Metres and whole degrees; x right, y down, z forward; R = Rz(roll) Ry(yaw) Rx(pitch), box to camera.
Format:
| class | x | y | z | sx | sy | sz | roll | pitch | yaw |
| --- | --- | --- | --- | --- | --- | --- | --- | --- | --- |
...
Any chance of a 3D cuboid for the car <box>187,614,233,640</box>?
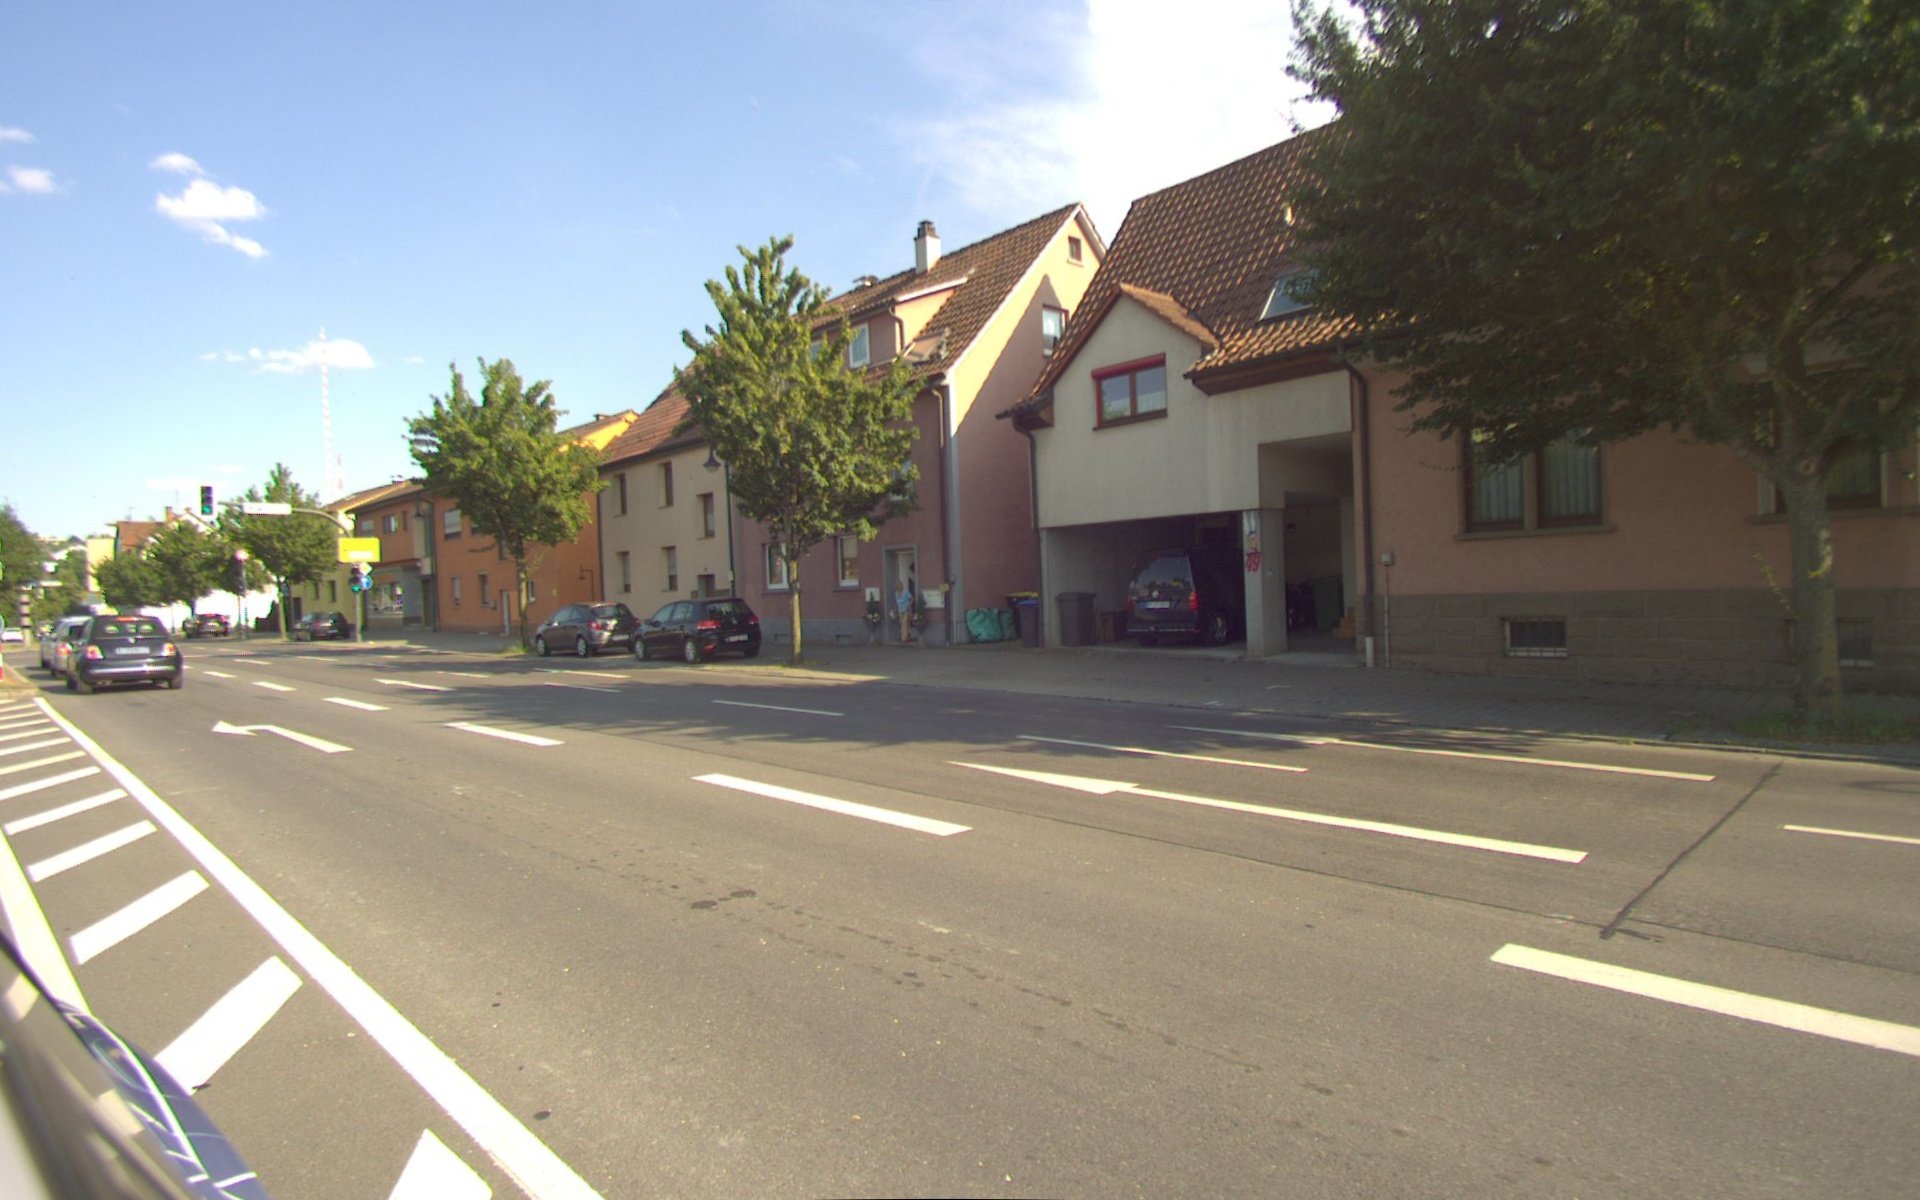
| class | x | y | z | sx | sy | sz | roll | pitch | yaw |
| --- | --- | --- | --- | --- | --- | --- | --- | --- | --- |
| car | -49.581 | 1.797 | 66.868 | 1.833 | 1.607 | 4.463 | -2 | 0 | -44 |

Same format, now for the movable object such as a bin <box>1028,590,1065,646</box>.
| class | x | y | z | sx | sy | sz | roll | pitch | yaw |
| --- | --- | --- | --- | --- | --- | --- | --- | --- | --- |
| movable object such as a bin | 1.806 | 0.379 | 21.115 | 0.540 | 1.146 | 0.504 | -2 | -1 | 44 |

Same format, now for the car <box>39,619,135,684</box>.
| class | x | y | z | sx | sy | sz | roll | pitch | yaw |
| --- | --- | --- | --- | --- | --- | --- | --- | --- | --- |
| car | -21.604 | 1.210 | 25.003 | 1.571 | 1.438 | 3.581 | -1 | 0 | -44 |

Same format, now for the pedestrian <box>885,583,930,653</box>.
| class | x | y | z | sx | sy | sz | roll | pitch | yaw |
| --- | --- | --- | --- | --- | --- | --- | --- | --- | --- |
| pedestrian | -1.245 | 0.419 | 23.975 | 0.774 | 1.619 | 0.716 | -2 | 0 | 27 |

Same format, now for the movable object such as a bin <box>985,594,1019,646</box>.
| class | x | y | z | sx | sy | sz | roll | pitch | yaw |
| --- | --- | --- | --- | --- | --- | --- | --- | --- | --- |
| movable object such as a bin | 0.934 | 0.444 | 22.719 | 0.498 | 1.151 | 0.530 | -2 | -1 | -44 |

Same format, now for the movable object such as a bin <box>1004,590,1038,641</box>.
| class | x | y | z | sx | sy | sz | roll | pitch | yaw |
| --- | --- | --- | --- | --- | --- | --- | --- | --- | --- |
| movable object such as a bin | 1.384 | 0.357 | 23.117 | 0.498 | 1.151 | 0.547 | -2 | -1 | -44 |

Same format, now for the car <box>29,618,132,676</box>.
| class | x | y | z | sx | sy | sz | roll | pitch | yaw |
| --- | --- | --- | --- | --- | --- | --- | --- | --- | --- |
| car | -25.610 | 1.343 | 29.415 | 4.566 | 1.500 | 1.815 | -2 | 0 | 43 |

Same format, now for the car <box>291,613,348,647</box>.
| class | x | y | z | sx | sy | sz | roll | pitch | yaw |
| --- | --- | --- | --- | --- | --- | --- | --- | --- | --- |
| car | -31.183 | 1.459 | 49.214 | 1.574 | 1.449 | 3.779 | -7 | 3 | -43 |

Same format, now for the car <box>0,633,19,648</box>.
| class | x | y | z | sx | sy | sz | roll | pitch | yaw |
| --- | --- | --- | --- | --- | --- | --- | --- | --- | --- |
| car | -96.118 | 4.064 | 101.848 | 4.000 | 1.422 | 1.738 | -2 | 0 | 43 |

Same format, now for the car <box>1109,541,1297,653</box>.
| class | x | y | z | sx | sy | sz | roll | pitch | yaw |
| --- | --- | --- | --- | --- | --- | --- | --- | --- | --- |
| car | 4.781 | -0.118 | 19.640 | 3.778 | 1.895 | 1.780 | -5 | 2 | -45 |

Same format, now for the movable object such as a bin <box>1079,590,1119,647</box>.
| class | x | y | z | sx | sy | sz | roll | pitch | yaw |
| --- | --- | --- | --- | --- | --- | --- | --- | --- | --- |
| movable object such as a bin | 2.846 | 0.375 | 20.783 | 0.575 | 1.151 | 0.560 | -2 | -1 | 39 |

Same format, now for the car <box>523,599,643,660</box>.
| class | x | y | z | sx | sy | sz | roll | pitch | yaw |
| --- | --- | --- | --- | --- | --- | --- | --- | --- | --- |
| car | -10.630 | 0.832 | 28.411 | 3.885 | 1.521 | 1.496 | -2 | 1 | 43 |

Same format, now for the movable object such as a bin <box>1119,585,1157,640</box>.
| class | x | y | z | sx | sy | sz | roll | pitch | yaw |
| --- | --- | --- | --- | --- | --- | --- | --- | --- | --- |
| movable object such as a bin | 3.814 | 0.272 | 21.718 | 0.575 | 1.151 | 0.560 | -2 | -1 | 39 |

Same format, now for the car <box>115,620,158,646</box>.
| class | x | y | z | sx | sy | sz | roll | pitch | yaw |
| --- | --- | --- | --- | --- | --- | --- | --- | --- | --- |
| car | -54.934 | 2.170 | 67.497 | 4.414 | 1.624 | 1.667 | -2 | 0 | 43 |

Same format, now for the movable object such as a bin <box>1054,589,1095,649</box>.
| class | x | y | z | sx | sy | sz | roll | pitch | yaw |
| --- | --- | --- | --- | --- | --- | --- | --- | --- | --- |
| movable object such as a bin | 2.273 | 0.374 | 20.140 | 0.575 | 1.151 | 0.560 | -2 | -1 | 39 |

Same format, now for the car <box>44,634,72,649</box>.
| class | x | y | z | sx | sy | sz | roll | pitch | yaw |
| --- | --- | --- | --- | --- | --- | --- | --- | --- | --- |
| car | -91.657 | 4.242 | 102.807 | 4.000 | 1.422 | 1.738 | -2 | 0 | 43 |

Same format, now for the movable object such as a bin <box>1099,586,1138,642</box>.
| class | x | y | z | sx | sy | sz | roll | pitch | yaw |
| --- | --- | --- | --- | --- | --- | --- | --- | --- | --- |
| movable object such as a bin | 3.327 | 0.285 | 21.269 | 0.575 | 1.151 | 0.560 | -2 | -1 | 39 |

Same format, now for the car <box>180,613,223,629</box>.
| class | x | y | z | sx | sy | sz | roll | pitch | yaw |
| --- | --- | --- | --- | --- | --- | --- | --- | --- | --- |
| car | -77.178 | 2.166 | 103.020 | 1.837 | 1.638 | 3.408 | 0 | -2 | 2 |

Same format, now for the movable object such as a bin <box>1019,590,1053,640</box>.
| class | x | y | z | sx | sy | sz | roll | pitch | yaw |
| --- | --- | --- | --- | --- | --- | --- | --- | --- | --- |
| movable object such as a bin | 1.768 | 0.351 | 23.494 | 0.498 | 1.151 | 0.547 | -2 | -1 | -44 |

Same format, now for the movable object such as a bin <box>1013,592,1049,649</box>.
| class | x | y | z | sx | sy | sz | roll | pitch | yaw |
| --- | --- | --- | --- | --- | --- | --- | --- | --- | --- |
| movable object such as a bin | 1.446 | 0.414 | 20.604 | 0.501 | 1.146 | 0.470 | -2 | -1 | 44 |

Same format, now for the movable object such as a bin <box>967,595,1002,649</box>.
| class | x | y | z | sx | sy | sz | roll | pitch | yaw |
| --- | --- | --- | --- | --- | --- | --- | --- | --- | --- |
| movable object such as a bin | 0.540 | 0.487 | 22.347 | 0.544 | 1.151 | 0.530 | -2 | -1 | -44 |

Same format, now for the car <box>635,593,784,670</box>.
| class | x | y | z | sx | sy | sz | roll | pitch | yaw |
| --- | --- | --- | --- | --- | --- | --- | --- | --- | --- |
| car | -5.969 | 0.714 | 23.829 | 1.646 | 1.543 | 3.907 | -5 | 2 | -43 |

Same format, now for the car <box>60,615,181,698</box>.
| class | x | y | z | sx | sy | sz | roll | pitch | yaw |
| --- | --- | --- | --- | --- | --- | --- | --- | --- | --- |
| car | -16.993 | 1.104 | 20.434 | 3.507 | 1.473 | 1.515 | -2 | 0 | 45 |
